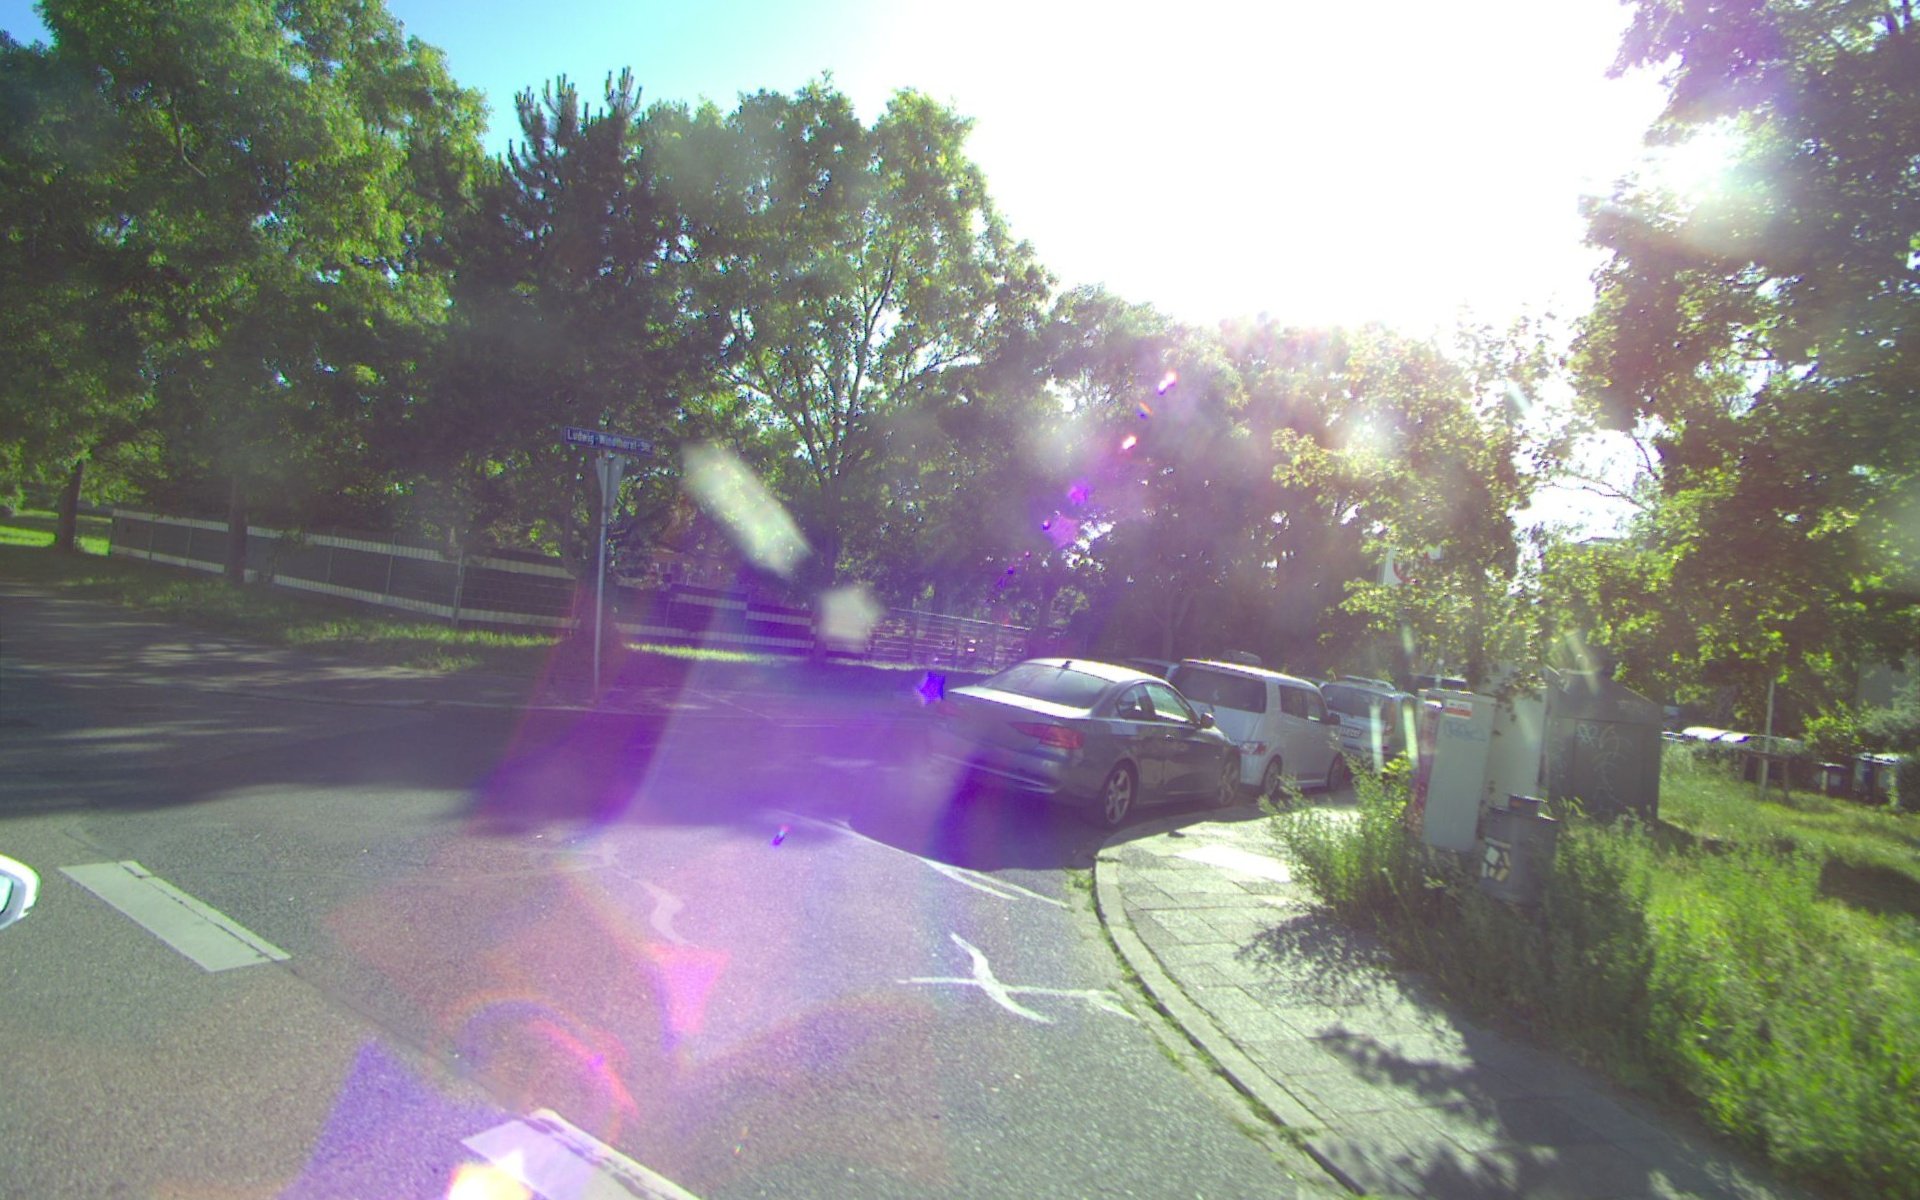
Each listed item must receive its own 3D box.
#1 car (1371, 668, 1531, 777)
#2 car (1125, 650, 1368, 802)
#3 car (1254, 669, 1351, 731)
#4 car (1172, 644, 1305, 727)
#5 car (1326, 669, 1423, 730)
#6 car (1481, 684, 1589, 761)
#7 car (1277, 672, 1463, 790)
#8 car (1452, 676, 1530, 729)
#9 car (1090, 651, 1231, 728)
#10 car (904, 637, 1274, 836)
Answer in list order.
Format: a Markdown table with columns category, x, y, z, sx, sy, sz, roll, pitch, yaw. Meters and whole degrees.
| category | x | y | z | sx | sy | sz | roll | pitch | yaw |
| --- | --- | --- | --- | --- | --- | --- | --- | --- | --- |
| car | 11.712 | 2.891 | 23.833 | 2.241 | 2.036 | 4.502 | 7 | -1 | 39 |
| car | 4.058 | 1.712 | 13.886 | 1.801 | 1.596 | 3.684 | 7 | -2 | 39 |
| car | 11.233 | 3.284 | 32.839 | 1.968 | 1.630 | 3.871 | 7 | -2 | 33 |
| car | 7.922 | 2.448 | 28.392 | 1.972 | 1.873 | 3.862 | 7 | -2 | 41 |
| car | 15.341 | 3.704 | 37.105 | 1.971 | 1.828 | 4.452 | 7 | -1 | 39 |
| car | 18.660 | 3.966 | 32.562 | 2.134 | 2.036 | 4.502 | 7 | -1 | 39 |
| car | 7.429 | 2.325 | 17.989 | 1.943 | 1.559 | 4.105 | 8 | -1 | 37 |
| car | 27.224 | 5.282 | 51.485 | 2.236 | 2.289 | 5.055 | 6 | -1 | 41 |
| car | 4.872 | 2.178 | 24.081 | 1.759 | 1.413 | 3.870 | 9 | -1 | 35 |
| car | 1.552 | 1.360 | 10.280 | 1.719 | 1.352 | 4.430 | 9 | -2 | 36 |
